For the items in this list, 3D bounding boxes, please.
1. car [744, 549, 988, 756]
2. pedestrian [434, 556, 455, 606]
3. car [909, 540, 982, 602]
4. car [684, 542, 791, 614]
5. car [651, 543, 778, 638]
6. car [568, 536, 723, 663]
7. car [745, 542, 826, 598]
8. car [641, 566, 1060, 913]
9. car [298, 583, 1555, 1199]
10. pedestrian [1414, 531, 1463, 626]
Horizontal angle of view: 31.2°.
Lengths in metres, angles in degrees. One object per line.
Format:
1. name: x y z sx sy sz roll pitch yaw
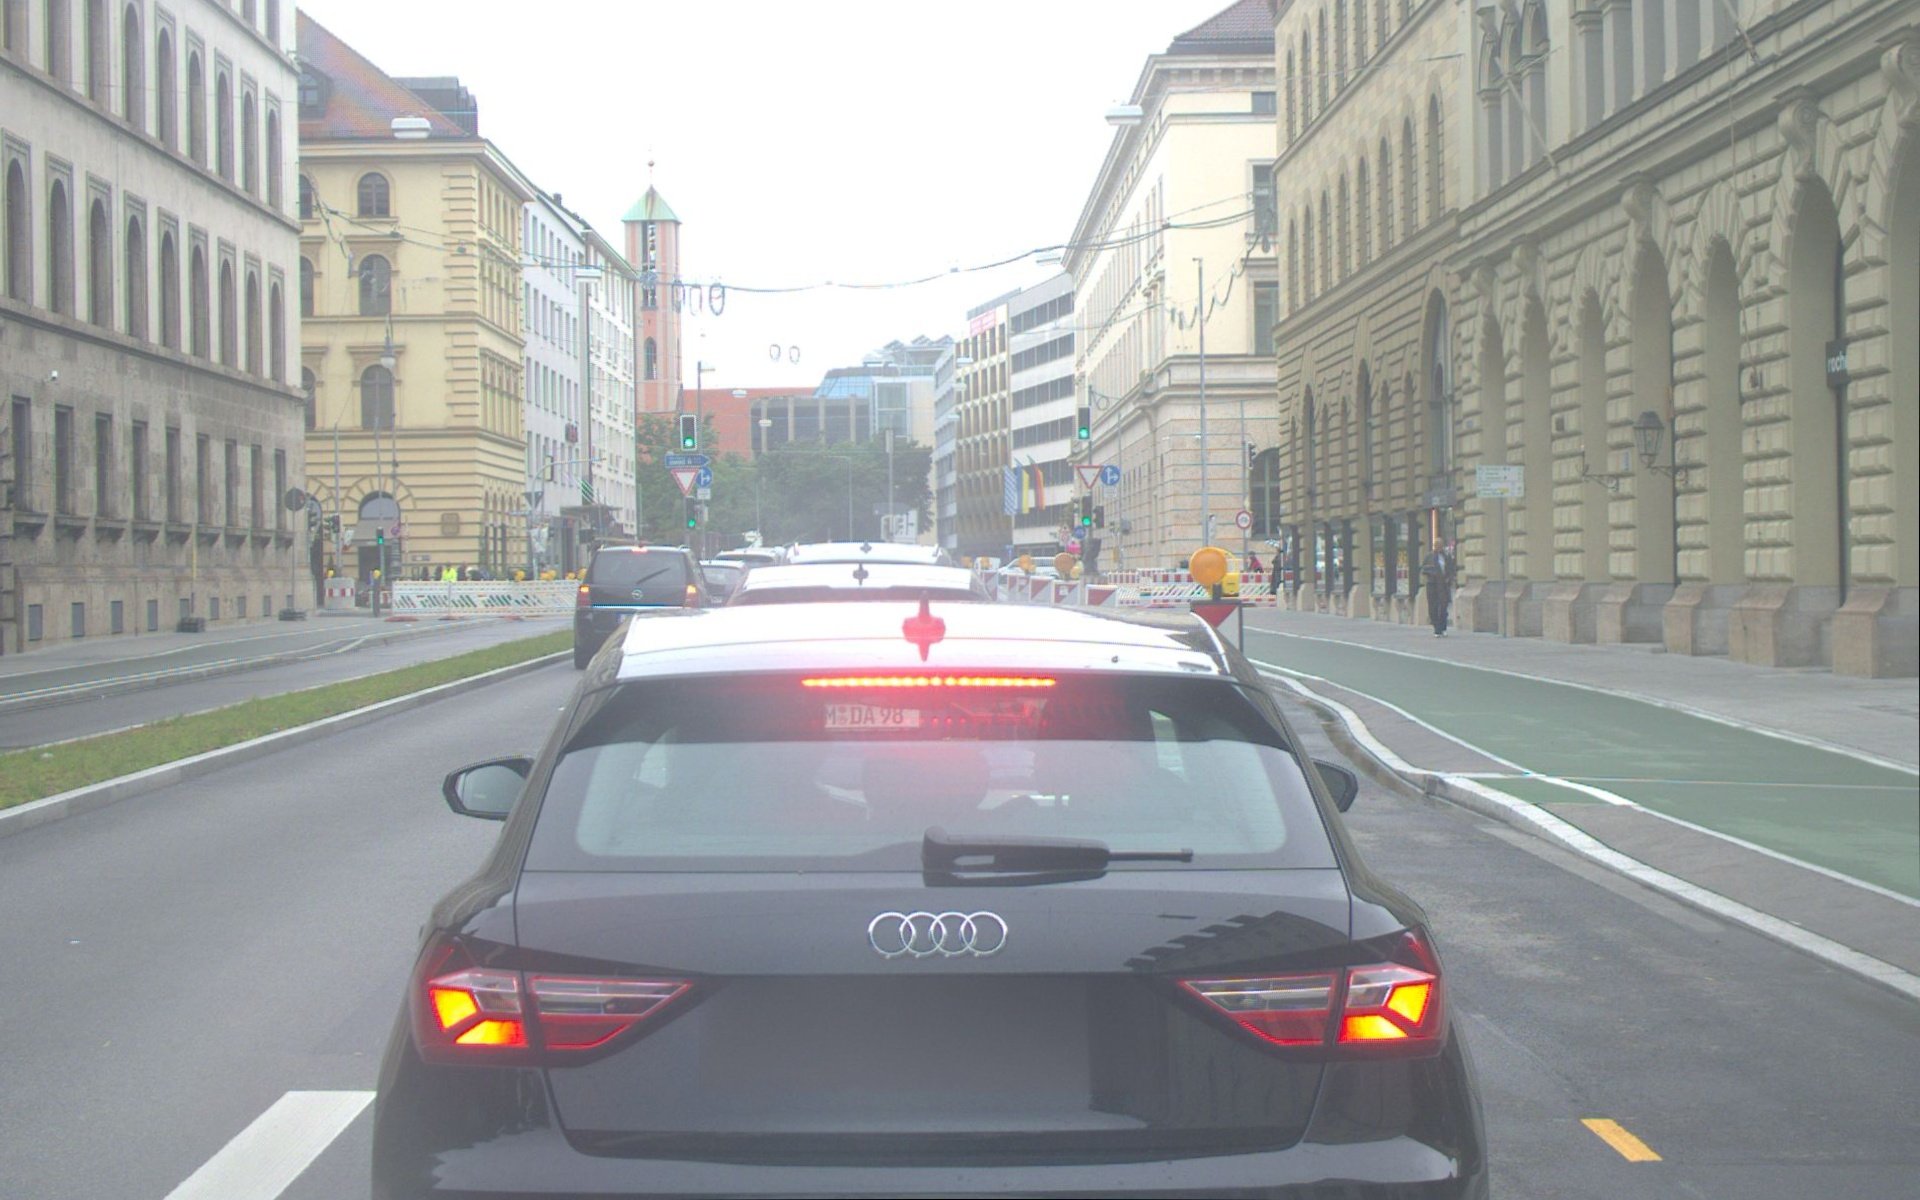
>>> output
1. car: -0.709 0.349 26.632 1.730 1.456 4.000 1 1 -1
2. pedestrian: -18.627 -0.698 124.244 0.656 1.799 0.727 -1 1 -1
3. car: -0.415 -0.817 96.361 1.950 1.656 4.000 1 0 0
4. car: -4.626 -0.473 71.869 1.993 1.439 4.000 -1 1 0
5. car: -4.356 -0.189 61.552 1.993 1.622 4.000 -1 1 0
6. car: -4.170 -0.040 46.044 1.764 1.610 4.030 1 1 -1
7. car: -4.673 -0.821 92.432 1.993 1.439 4.000 -1 1 0
8. car: -0.488 0.561 16.328 1.730 1.398 4.000 1 1 -1
9. car: -0.082 0.701 6.763 1.730 1.398 4.000 1 1 -1
10. pedestrian: 8.283 -0.375 59.482 0.710 1.612 0.754 -1 1 -1
